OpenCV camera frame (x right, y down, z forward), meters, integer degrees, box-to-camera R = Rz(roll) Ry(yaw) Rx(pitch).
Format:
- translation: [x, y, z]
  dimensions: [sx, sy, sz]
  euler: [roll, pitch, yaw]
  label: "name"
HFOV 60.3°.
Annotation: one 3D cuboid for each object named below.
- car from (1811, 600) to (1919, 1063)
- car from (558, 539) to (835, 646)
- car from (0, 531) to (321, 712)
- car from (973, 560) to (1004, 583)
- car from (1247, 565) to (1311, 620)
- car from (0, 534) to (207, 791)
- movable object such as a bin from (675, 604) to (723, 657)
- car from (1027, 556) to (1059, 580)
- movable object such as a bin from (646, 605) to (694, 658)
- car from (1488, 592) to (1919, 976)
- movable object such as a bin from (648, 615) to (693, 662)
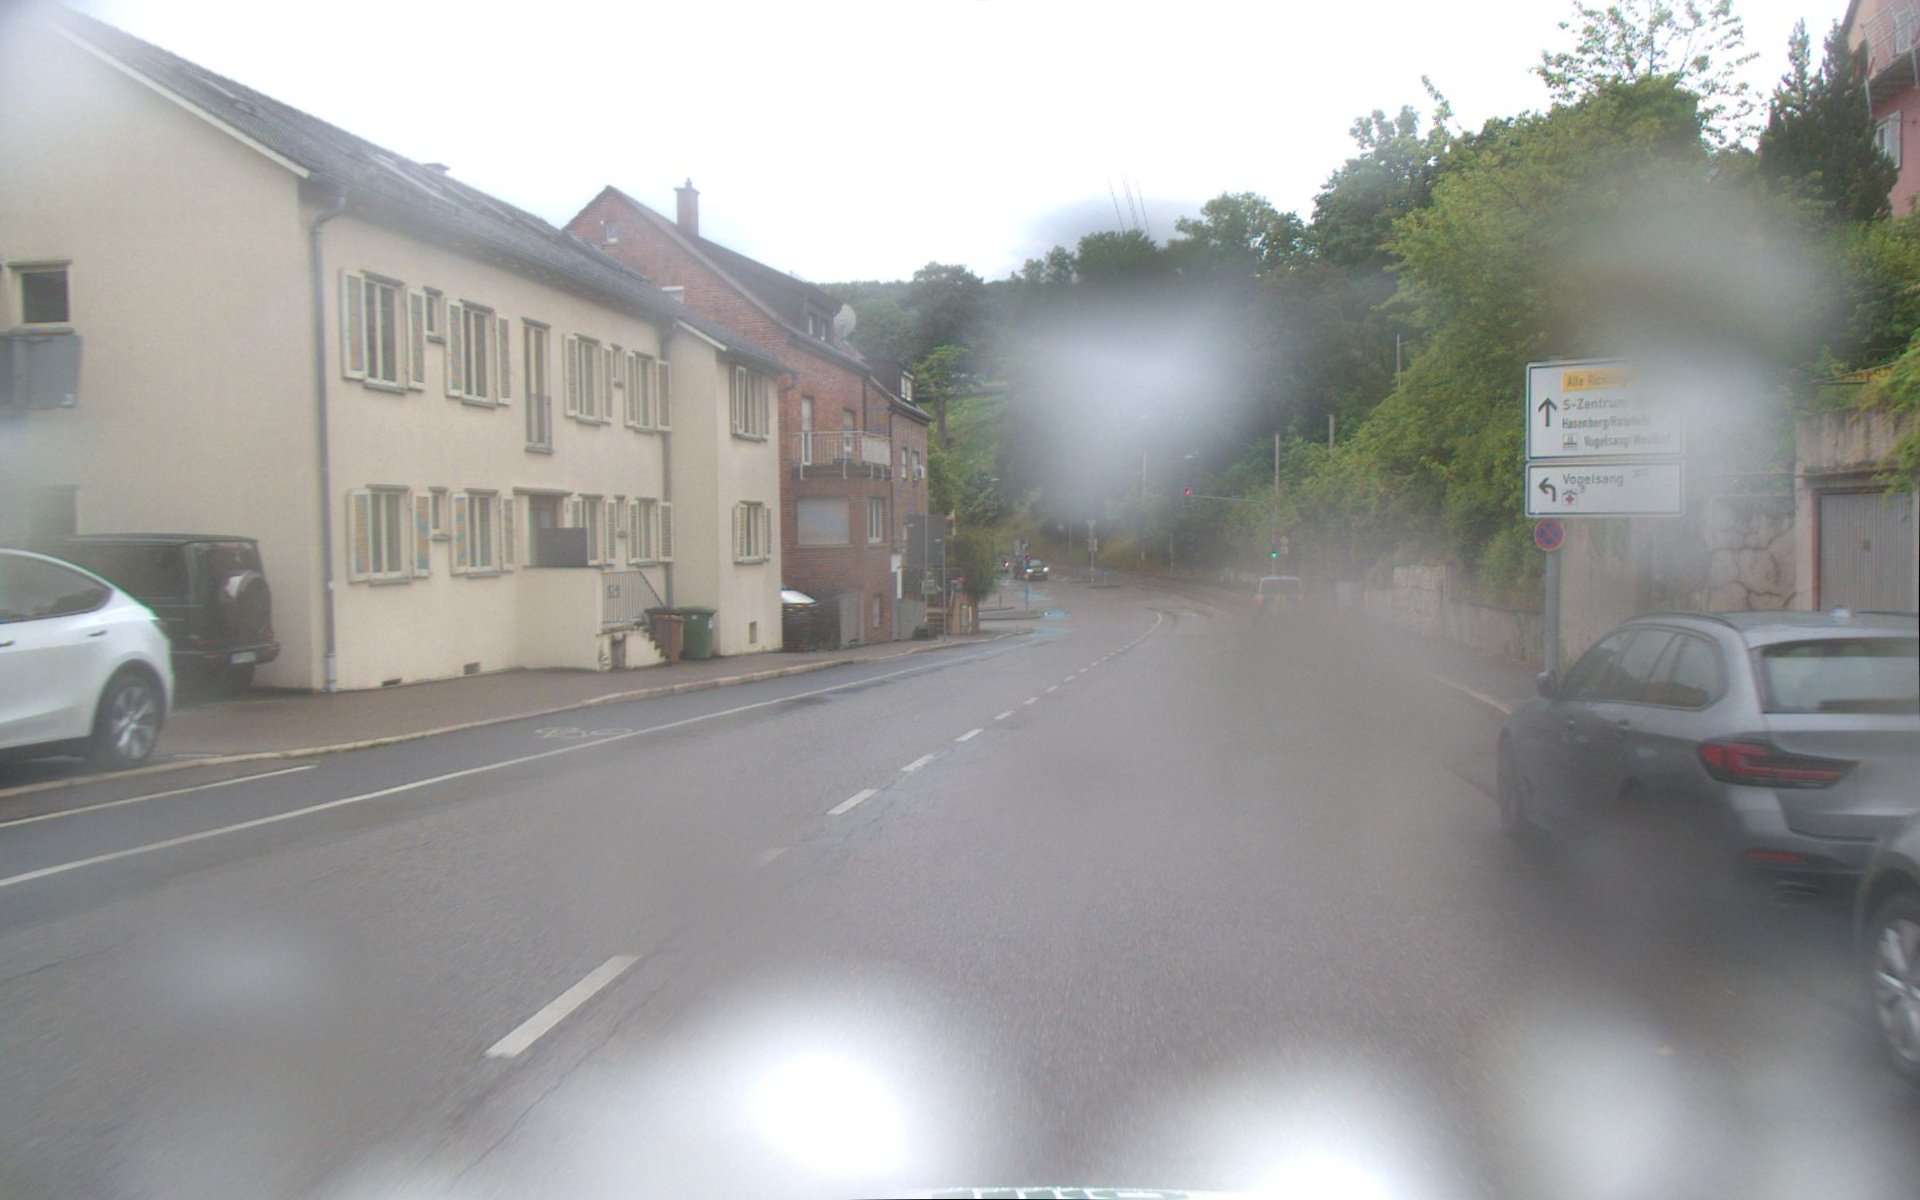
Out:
- translation: [3.743, 0.765, 3.934]
  dimensions: [1.606, 1.461, 4.176]
  euler: [0, 1, 5]
  label: "car"
- translation: [-6.566, -0.151, 41.551]
  dimensions: [6.512, 2.598, 2.169]
  euler: [0, -1, 10]
  label: "car"
- translation: [-10.292, 0.239, 19.966]
  dimensions: [4.393, 2.048, 1.889]
  euler: [-1, 1, 6]
  label: "car"
- translation: [2.220, -2.222, 128.878]
  dimensions: [1.709, 1.576, 3.993]
  euler: [-5, 2, -8]
  label: "car"
- translation: [12.229, -0.261, 63.699]
  dimensions: [2.259, 1.973, 4.328]
  euler: [-2, -1, 9]
  label: "car"
- translation: [-7.136, 0.402, 10.869]
  dimensions: [1.888, 1.659, 4.680]
  euler: [0, 0, 5]
  label: "car"
- translation: [-5.352, 0.624, 33.952]
  dimensions: [0.765, 1.065, 0.739]
  euler: [0, 0, 9]
  label: "movable object such as a bin"
- translation: [6.109, -2.376, 122.183]
  dimensions: [1.707, 1.576, 3.997]
  euler: [-4, 3, -5]
  label: "car"
- translation: [-5.823, 0.626, 33.263]
  dimensions: [0.765, 1.065, 0.709]
  euler: [0, 0, 9]
  label: "movable object such as a bin"
- translation: [4.193, 0.721, 8.865]
  dimensions: [1.751, 1.522, 4.709]
  euler: [0, 0, 7]
  label: "car"
- translation: [-5.644, 0.745, 32.233]
  dimensions: [0.659, 0.874, 0.709]
  euler: [0, 0, 9]
  label: "movable object such as a bin"
